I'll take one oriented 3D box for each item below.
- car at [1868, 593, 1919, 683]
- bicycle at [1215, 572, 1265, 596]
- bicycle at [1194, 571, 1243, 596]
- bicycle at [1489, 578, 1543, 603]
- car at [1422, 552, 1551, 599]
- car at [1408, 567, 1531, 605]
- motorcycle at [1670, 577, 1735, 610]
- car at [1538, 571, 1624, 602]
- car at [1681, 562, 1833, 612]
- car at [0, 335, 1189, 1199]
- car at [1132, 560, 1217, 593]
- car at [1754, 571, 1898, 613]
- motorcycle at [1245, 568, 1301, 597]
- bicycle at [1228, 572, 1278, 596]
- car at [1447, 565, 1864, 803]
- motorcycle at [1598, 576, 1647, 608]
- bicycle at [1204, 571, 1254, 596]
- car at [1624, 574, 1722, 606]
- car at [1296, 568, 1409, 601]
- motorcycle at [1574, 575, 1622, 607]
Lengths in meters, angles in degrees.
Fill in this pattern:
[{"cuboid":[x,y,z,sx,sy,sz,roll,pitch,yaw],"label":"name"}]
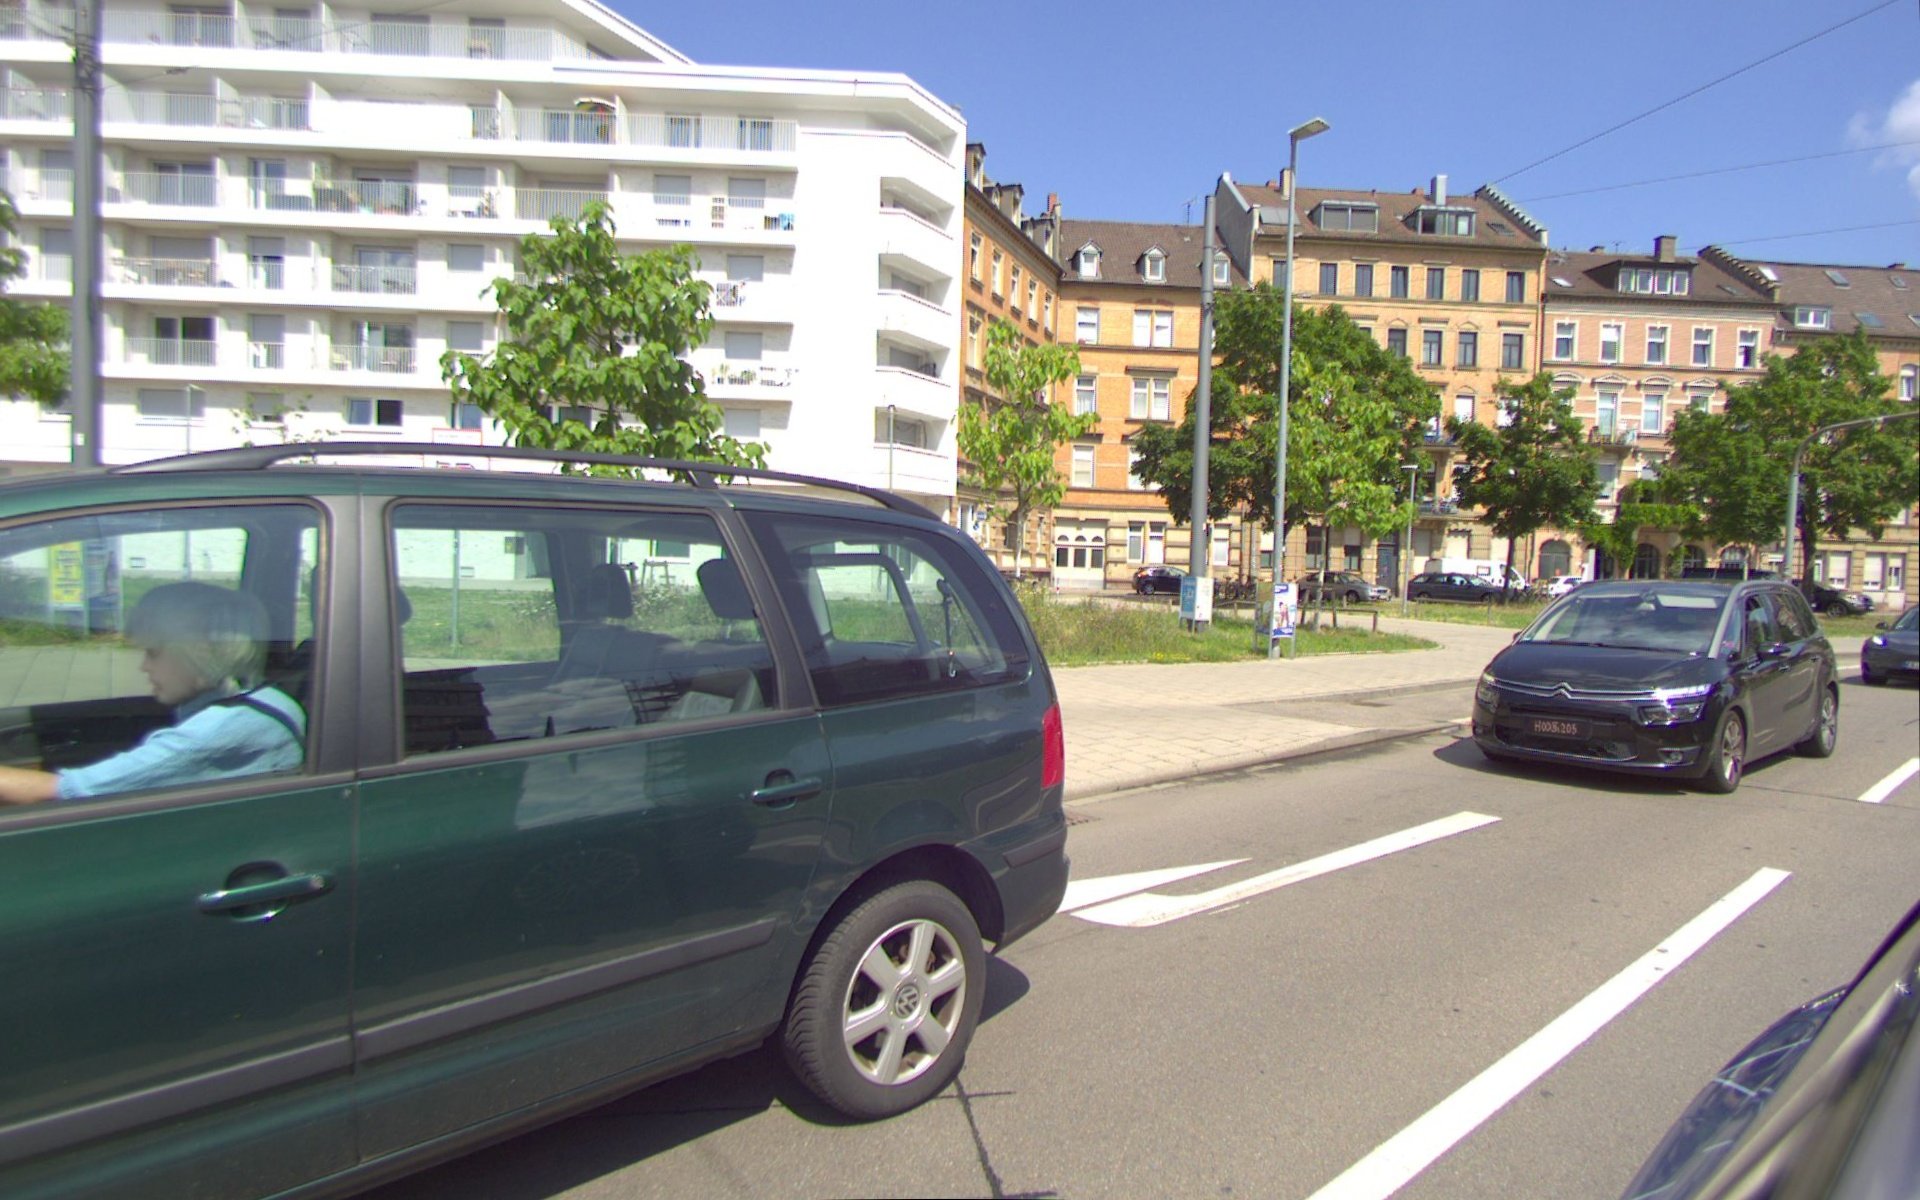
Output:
[{"cuboid":[17.068,0.612,16.886,4.231,1.411,1.916,0,1,-35],"label":"car"},{"cuboid":[11.527,-0.673,41.687,0.532,0.981,2.396,1,1,-25],"label":"bicycle"},{"cuboid":[10.502,-0.684,41.197,0.532,0.981,2.396,1,1,-25],"label":"bicycle"},{"cuboid":[21.251,-0.359,38.669,1.784,0.912,0.544,1,0,-5],"label":"bicycle"},{"cuboid":[26.237,-1.204,50.530,5.290,2.206,2.118,1,1,-1],"label":"car"},{"cuboid":[21.073,-0.611,42.052,1.769,1.445,4.265,0,2,-31],"label":"car"},{"cuboid":[28.516,-0.253,38.878,1.876,1.181,0.638,2,1,11],"label":"motorcycle"},{"cuboid":[31.236,-0.678,50.928,3.288,1.420,1.569,1,2,1],"label":"car"},{"cuboid":[33.345,-0.568,42.462,1.879,1.951,4.633,1,1,-32],"label":"car"},{"cuboid":[-1.657,0.468,2.570,4.944,1.778,1.822,0,1,-41],"label":"car"},{"cuboid":[10.559,-1.158,49.951,3.779,1.510,1.665,1,1,-1],"label":"car"},{"cuboid":[36.329,-0.376,42.573,1.877,1.677,4.181,1,1,-28],"label":"car"},{"cuboid":[13.068,-0.740,42.306,0.796,1.139,2.396,1,1,-25],"label":"motorcycle"},{"cuboid":[12.146,-0.660,41.973,0.532,0.968,2.396,1,1,-25],"label":"bicycle"},{"cuboid":[6.279,0.550,8.980,4.112,1.639,1.876,0,1,-38],"label":"car"},{"cuboid":[25.855,-0.333,39.531,0.627,1.181,1.791,1,2,-3],"label":"motorcycle"},{"cuboid":[11.004,-0.679,41.446,0.532,0.981,2.396,1,1,-25],"label":"bicycle"},{"cuboid":[35.953,-0.499,51.094,3.779,1.510,1.665,1,1,-1],"label":"car"},{"cuboid":[15.913,-0.651,41.226,1.825,1.260,4.172,1,1,-26],"label":"car"},{"cuboid":[24.876,-0.376,39.493,0.627,1.181,1.791,1,2,-3],"label":"motorcycle"}]
